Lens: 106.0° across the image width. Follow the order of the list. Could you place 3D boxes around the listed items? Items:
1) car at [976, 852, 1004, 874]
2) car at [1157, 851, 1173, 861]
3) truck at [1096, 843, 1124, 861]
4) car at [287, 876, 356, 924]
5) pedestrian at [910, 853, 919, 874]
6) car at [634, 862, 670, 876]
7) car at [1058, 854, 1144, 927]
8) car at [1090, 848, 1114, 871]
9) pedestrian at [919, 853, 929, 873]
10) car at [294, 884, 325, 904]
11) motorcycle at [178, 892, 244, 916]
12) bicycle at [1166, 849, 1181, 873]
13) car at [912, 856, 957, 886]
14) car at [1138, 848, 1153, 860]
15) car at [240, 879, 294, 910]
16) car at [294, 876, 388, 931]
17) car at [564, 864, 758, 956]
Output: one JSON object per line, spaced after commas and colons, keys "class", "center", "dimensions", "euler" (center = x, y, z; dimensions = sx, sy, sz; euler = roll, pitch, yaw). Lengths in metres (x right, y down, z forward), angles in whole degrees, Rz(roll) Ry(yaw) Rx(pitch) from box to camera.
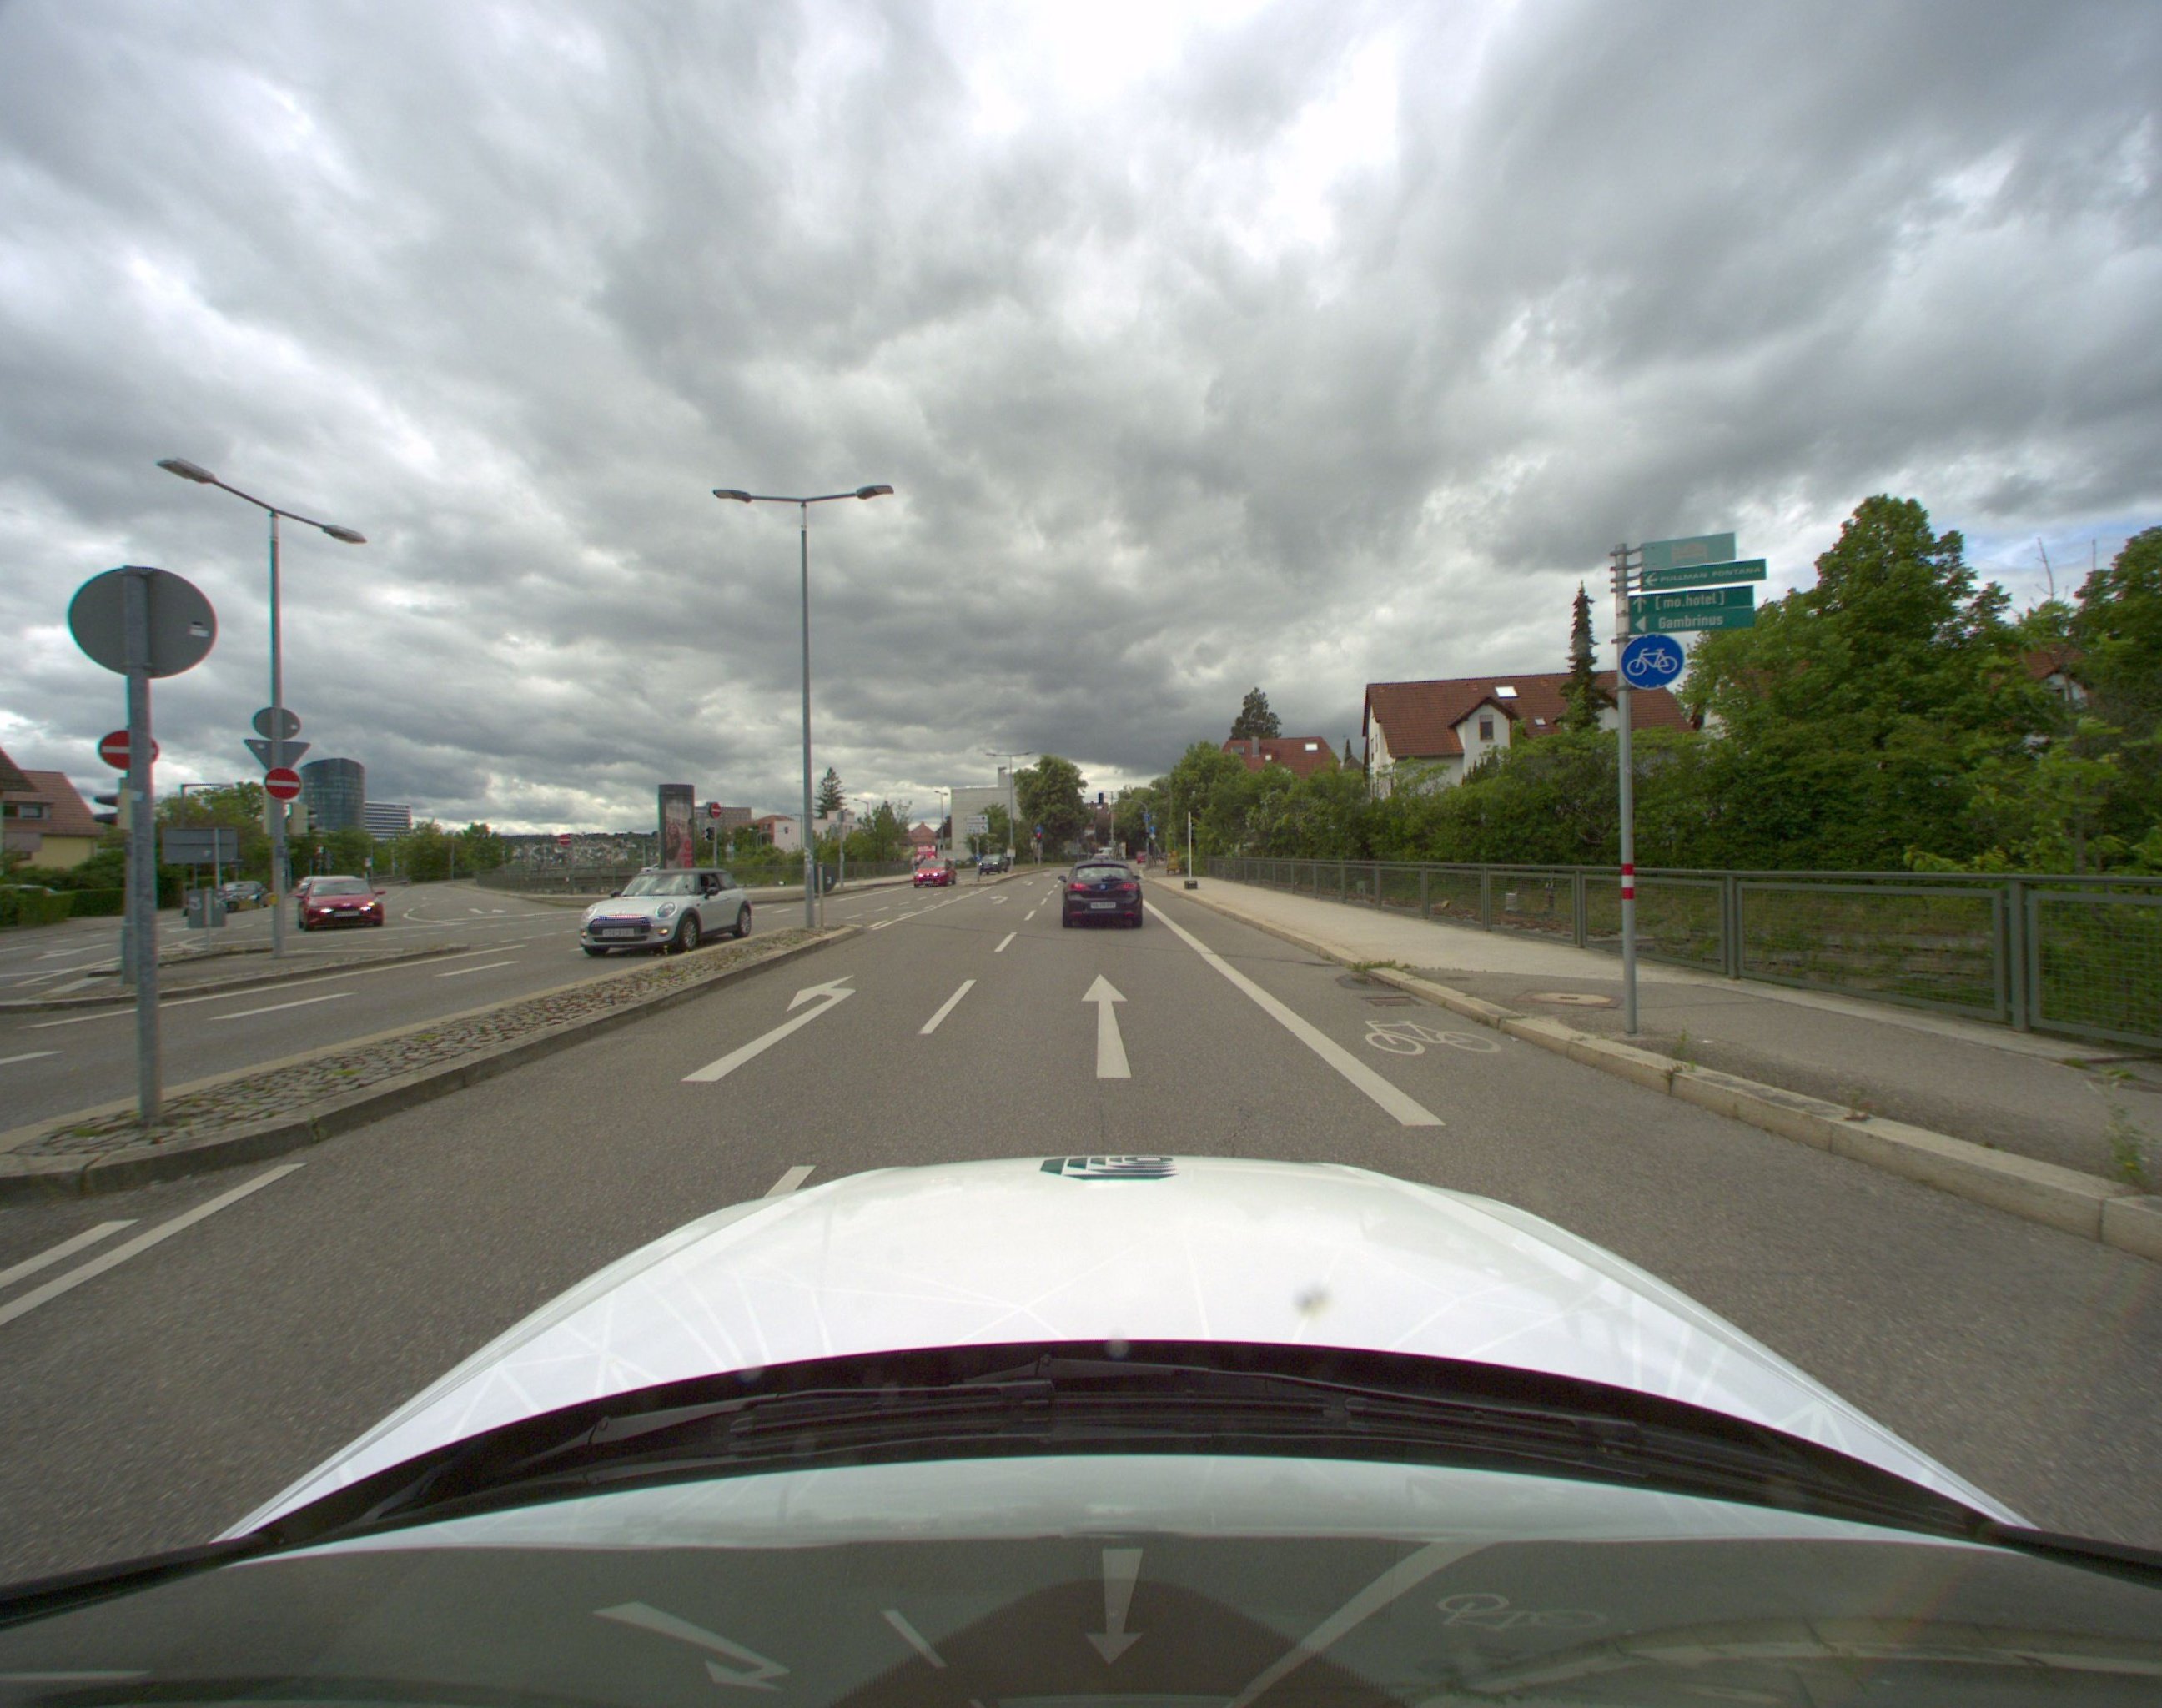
{"class": "car", "center": [-7.258, 0.705, 65.224], "dimensions": [1.817, 1.626, 4.276], "euler": [-1, 0, -1]}
{"class": "car", "center": [14.477, 0.355, 140.643], "dimensions": [1.978, 1.684, 4.018], "euler": [-2, 0, 17]}
{"class": "truck", "center": [3.975, -0.326, 110.501], "dimensions": [2.109, 2.264, 6.835], "euler": [-2, 0, 16]}
{"class": "car", "center": [-27.409, 1.641, 29.466], "dimensions": [1.656, 1.535, 4.080], "euler": [-3, 0, -42]}
{"class": "pedestrian", "center": [-13.480, 0.770, 66.038], "dimensions": [0.655, 1.633, 0.831], "euler": [0, 0, -6]}
{"class": "car", "center": [-56.855, 1.971, 107.853], "dimensions": [4.015, 1.662, 1.718], "euler": [2, 0, -34]}
{"class": "car", "center": [0.546, 0.750, 18.647], "dimensions": [1.751, 1.448, 3.718], "euler": [1, 1, 4]}
{"class": "car", "center": [1.688, 0.414, 65.409], "dimensions": [1.812, 1.699, 4.255], "euler": [-2, 0, 2]}
{"class": "pedestrian", "center": [-12.751, 0.752, 66.149], "dimensions": [0.655, 1.633, 1.069], "euler": [0, 0, -6]}
{"class": "car", "center": [-69.424, 3.578, 73.354], "dimensions": [1.911, 1.607, 4.323], "euler": [-1, 0, -43]}
{"class": "motorcycle", "center": [-43.962, 2.510, 41.184], "dimensions": [0.695, 0.999, 2.132], "euler": [-6, -2, 19]}
{"class": "bicycle", "center": [5.965, 0.431, 52.538], "dimensions": [0.887, 1.510, 2.788], "euler": [-2, 0, 6]}
{"class": "car", "center": [-7.723, 0.866, 43.272], "dimensions": [1.716, 1.448, 4.064], "euler": [-1, 0, -2]}
{"class": "car", "center": [8.564, 0.006, 107.905], "dimensions": [1.933, 1.481, 4.258], "euler": [-2, 0, 4]}
{"class": "car", "center": [-47.118, 2.316, 47.219], "dimensions": [2.011, 1.607, 4.323], "euler": [-1, 0, -42]}
{"class": "car", "center": [-22.472, 1.477, 24.689], "dimensions": [3.656, 1.446, 1.786], "euler": [-3, 0, 44]}
{"class": "car", "center": [-7.517, 0.916, 15.023], "dimensions": [1.638, 1.409, 3.817], "euler": [-1, 0, -1]}
